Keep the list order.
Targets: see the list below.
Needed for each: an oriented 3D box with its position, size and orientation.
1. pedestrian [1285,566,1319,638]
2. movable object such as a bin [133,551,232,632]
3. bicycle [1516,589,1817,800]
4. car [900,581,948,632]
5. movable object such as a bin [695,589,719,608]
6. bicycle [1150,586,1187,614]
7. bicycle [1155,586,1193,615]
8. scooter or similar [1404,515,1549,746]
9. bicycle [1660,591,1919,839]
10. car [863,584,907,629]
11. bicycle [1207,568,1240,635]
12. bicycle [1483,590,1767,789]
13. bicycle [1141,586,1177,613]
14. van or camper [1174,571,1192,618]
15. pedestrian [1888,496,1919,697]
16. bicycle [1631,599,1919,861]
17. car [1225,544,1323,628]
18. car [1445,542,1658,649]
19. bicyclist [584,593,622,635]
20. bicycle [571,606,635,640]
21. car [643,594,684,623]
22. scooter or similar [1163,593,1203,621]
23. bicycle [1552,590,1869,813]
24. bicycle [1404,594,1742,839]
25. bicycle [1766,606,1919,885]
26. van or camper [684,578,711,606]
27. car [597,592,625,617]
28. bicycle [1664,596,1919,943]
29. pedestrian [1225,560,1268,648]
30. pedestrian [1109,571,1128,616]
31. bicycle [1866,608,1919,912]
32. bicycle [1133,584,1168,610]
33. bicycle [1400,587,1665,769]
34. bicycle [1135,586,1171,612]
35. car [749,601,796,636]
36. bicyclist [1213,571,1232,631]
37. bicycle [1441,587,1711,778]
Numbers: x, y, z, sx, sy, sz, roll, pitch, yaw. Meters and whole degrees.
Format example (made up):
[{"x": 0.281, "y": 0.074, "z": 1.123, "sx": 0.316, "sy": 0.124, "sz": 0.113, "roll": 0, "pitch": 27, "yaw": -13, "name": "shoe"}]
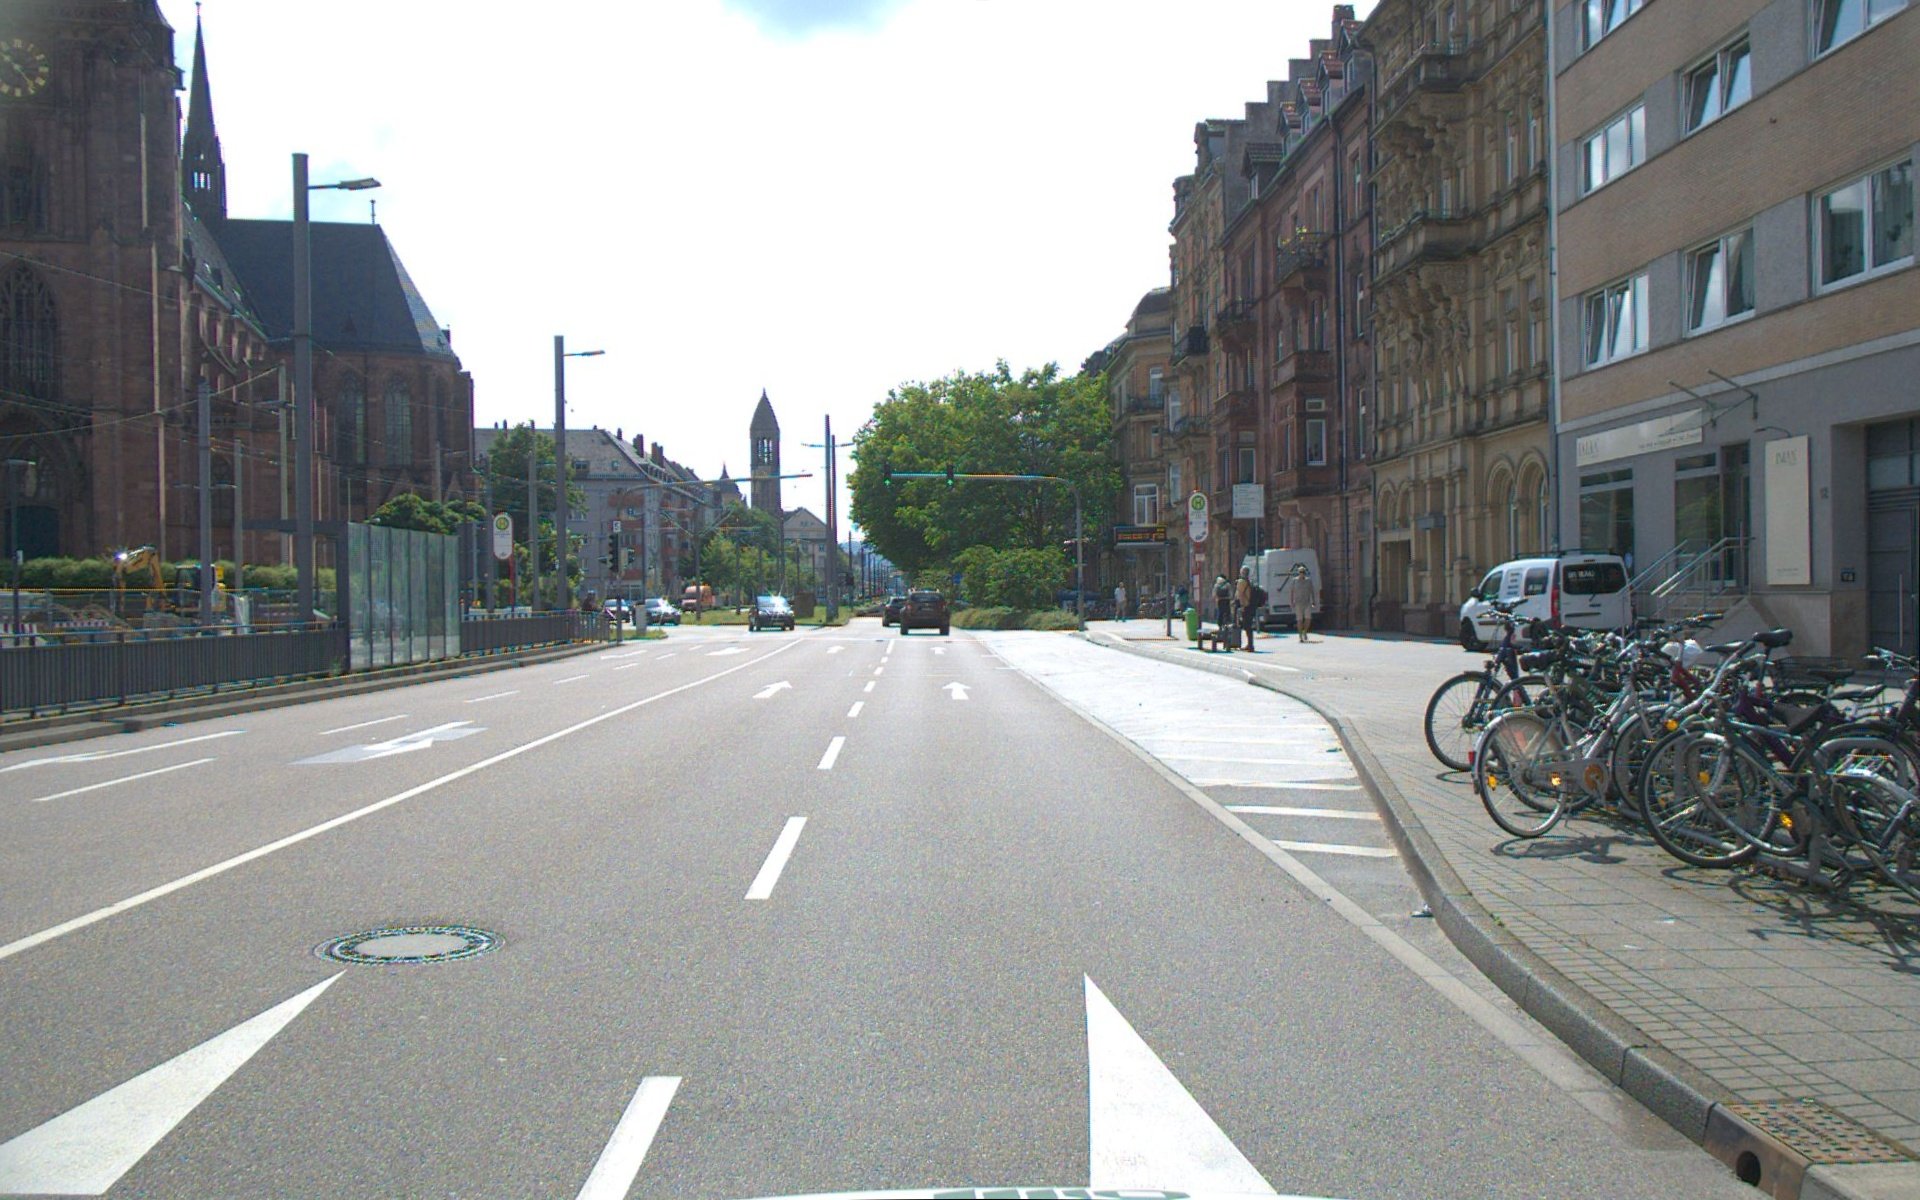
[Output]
[{"x": 8.997, "y": 0.044, "z": 43.531, "sx": 0.650, "sy": 1.868, "sz": 0.693, "roll": -1, "pitch": 0, "yaw": -8, "name": "pedestrian"}, {"x": -31.987, "y": -0.396, "z": 68.184, "sx": 1.952, "sy": 3.159, "sz": 4.002, "roll": -1, "pitch": 2, "yaw": 3, "name": "movable object such as a bin"}, {"x": 4.570, "y": 0.587, "z": 10.701, "sx": 1.890, "sy": 1.259, "sz": 0.440, "roll": -1, "pitch": 2, "yaw": -13, "name": "bicycle"}, {"x": -1.393, "y": 0.210, "z": 62.757, "sx": 1.655, "sy": 1.741, "sz": 3.607, "roll": -1, "pitch": 2, "yaw": -3, "name": "car"}, {"x": -26.334, "y": -0.172, "z": 172.244, "sx": 2.164, "sy": 1.723, "sz": 3.714, "roll": -1, "pitch": 2, "yaw": -5, "name": "movable object such as a bin"}, {"x": 9.925, "y": -0.015, "z": 78.728, "sx": 1.709, "sy": 1.290, "sz": 0.467, "roll": -1, "pitch": 2, "yaw": 2, "name": "bicycle"}, {"x": 10.116, "y": 0.019, "z": 78.149, "sx": 1.732, "sy": 1.290, "sz": 0.467, "roll": -1, "pitch": 2, "yaw": 2, "name": "bicycle"}, {"x": 4.295, "y": 0.239, "z": 13.852, "sx": 0.390, "sy": 1.818, "sz": 1.532, "roll": -1, "pitch": 0, "yaw": -14, "name": "scooter or similar"}, {"x": 4.860, "y": 0.606, "z": 9.226, "sx": 1.892, "sy": 1.259, "sz": 0.439, "roll": -1, "pitch": 2, "yaw": -15, "name": "bicycle"}, {"x": -3.651, "y": 0.310, "z": 79.728, "sx": 1.954, "sy": 2.049, "sz": 3.996, "roll": -1, "pitch": 0, "yaw": -4, "name": "car"}, {"x": 7.871, "y": 0.045, "z": 49.397, "sx": 0.669, "sy": 1.959, "sz": 1.589, "roll": -1, "pitch": 0, "yaw": -1, "name": "bicycle"}, {"x": 4.537, "y": 0.586, "z": 11.288, "sx": 1.890, "sy": 1.259, "sz": 0.440, "roll": -1, "pitch": 2, "yaw": -13, "name": "bicycle"}, {"x": 9.742, "y": -0.022, "z": 80.972, "sx": 1.732, "sy": 1.290, "sz": 0.467, "roll": -1, "pitch": 2, "yaw": 2, "name": "bicycle"}, {"x": 9.810, "y": -0.246, "z": 72.811, "sx": 0.652, "sy": 2.049, "sz": 0.638, "roll": -1, "pitch": 0, "yaw": -2, "name": "van or camper"}, {"x": 10.530, "y": -0.052, "z": 17.733, "sx": 0.706, "sy": 2.135, "sz": 0.786, "roll": -1, "pitch": 2, "yaw": -1, "name": "pedestrian"}, {"x": 4.431, "y": 0.640, "z": 8.380, "sx": 1.884, "sy": 1.259, "sz": 0.441, "roll": -1, "pitch": 2, "yaw": 0, "name": "bicycle"}, {"x": 10.275, "y": -0.452, "z": 54.532, "sx": 1.953, "sy": 2.569, "sz": 5.887, "roll": -1, "pitch": 0, "yaw": -2, "name": "car"}, {"x": 11.360, "y": -0.063, "z": 32.164, "sx": 1.956, "sy": 1.894, "sz": 4.745, "roll": -1, "pitch": 0, "yaw": -7, "name": "car"}, {"x": -12.588, "y": 0.482, "z": 58.389, "sx": 1.066, "sy": 1.461, "sz": 0.825, "roll": -1, "pitch": 0, "yaw": 8, "name": "bicyclist"}, {"x": -12.578, "y": 0.801, "z": 58.335, "sx": 1.975, "sy": 1.146, "sz": 0.932, "roll": -1, "pitch": 0, "yaw": 9, "name": "bicycle"}, {"x": -16.968, "y": 0.496, "z": 94.854, "sx": 1.782, "sy": 1.579, "sz": 4.556, "roll": -1, "pitch": 0, "yaw": -4, "name": "car"}, {"x": 10.177, "y": 0.323, "z": 75.482, "sx": 1.733, "sy": 1.205, "sz": 0.466, "roll": -3, "pitch": -1, "yaw": -2, "name": "scooter or similar"}, {"x": 4.596, "y": 0.596, "z": 10.137, "sx": 1.890, "sy": 1.259, "sz": 0.440, "roll": -1, "pitch": 2, "yaw": -13, "name": "bicycle"}, {"x": 3.469, "y": 0.626, "z": 9.351, "sx": 1.892, "sy": 1.259, "sz": 0.439, "roll": -1, "pitch": 2, "yaw": -15, "name": "bicycle"}, {"x": 4.865, "y": 0.663, "z": 7.830, "sx": 1.884, "sy": 1.259, "sz": 0.441, "roll": -1, "pitch": 2, "yaw": 0, "name": "bicycle"}, {"x": -26.273, "y": -0.782, "z": 165.513, "sx": 2.212, "sy": 2.785, "sz": 6.196, "roll": -1, "pitch": 0, "yaw": -5, "name": "van or camper"}, {"x": -22.943, "y": 0.270, "z": 108.782, "sx": 1.767, "sy": 1.579, "sz": 4.283, "roll": -1, "pitch": 0, "yaw": -12, "name": "car"}, {"x": 3.763, "y": 0.651, "z": 7.058, "sx": 0.432, "sy": 1.259, "sz": 1.927, "roll": -1, "pitch": 2, "yaw": -9, "name": "bicycle"}, {"x": 6.469, "y": 0.087, "z": 37.354, "sx": 0.653, "sy": 1.936, "sz": 0.690, "roll": -1, "pitch": 0, "yaw": -20, "name": "pedestrian"}, {"x": 7.313, "y": -0.288, "z": 76.274, "sx": 0.752, "sy": 2.049, "sz": 0.715, "roll": -1, "pitch": 0, "yaw": -1, "name": "pedestrian"}, {"x": 4.983, "y": 0.663, "z": 7.156, "sx": 1.884, "sy": 1.259, "sz": 0.441, "roll": -1, "pitch": 2, "yaw": 0, "name": "bicycle"}, {"x": 9.593, "y": -0.139, "z": 83.332, "sx": 1.732, "sy": 1.290, "sz": 0.467, "roll": -1, "pitch": 2, "yaw": 2, "name": "bicycle"}, {"x": 4.281, "y": 0.563, "z": 12.373, "sx": 1.944, "sy": 1.259, "sz": 0.440, "roll": -1, "pitch": 2, "yaw": -13, "name": "bicycle"}, {"x": 9.636, "y": -0.057, "z": 82.551, "sx": 1.732, "sy": 1.290, "sz": 0.467, "roll": -1, "pitch": 2, "yaw": 2, "name": "bicycle"}, {"x": -8.174, "y": 0.786, "z": 72.314, "sx": 1.878, "sy": 1.442, "sz": 3.738, "roll": -1, "pitch": 0, "yaw": -4, "name": "car"}, {"x": 7.824, "y": 0.034, "z": 49.367, "sx": 0.419, "sy": 1.748, "sz": 0.828, "roll": -1, "pitch": 2, "yaw": -1, "name": "bicyclist"}, {"x": 4.399, "y": 0.564, "z": 11.810, "sx": 1.891, "sy": 1.259, "sz": 0.440, "roll": -1, "pitch": 2, "yaw": -14, "name": "bicycle"}]
